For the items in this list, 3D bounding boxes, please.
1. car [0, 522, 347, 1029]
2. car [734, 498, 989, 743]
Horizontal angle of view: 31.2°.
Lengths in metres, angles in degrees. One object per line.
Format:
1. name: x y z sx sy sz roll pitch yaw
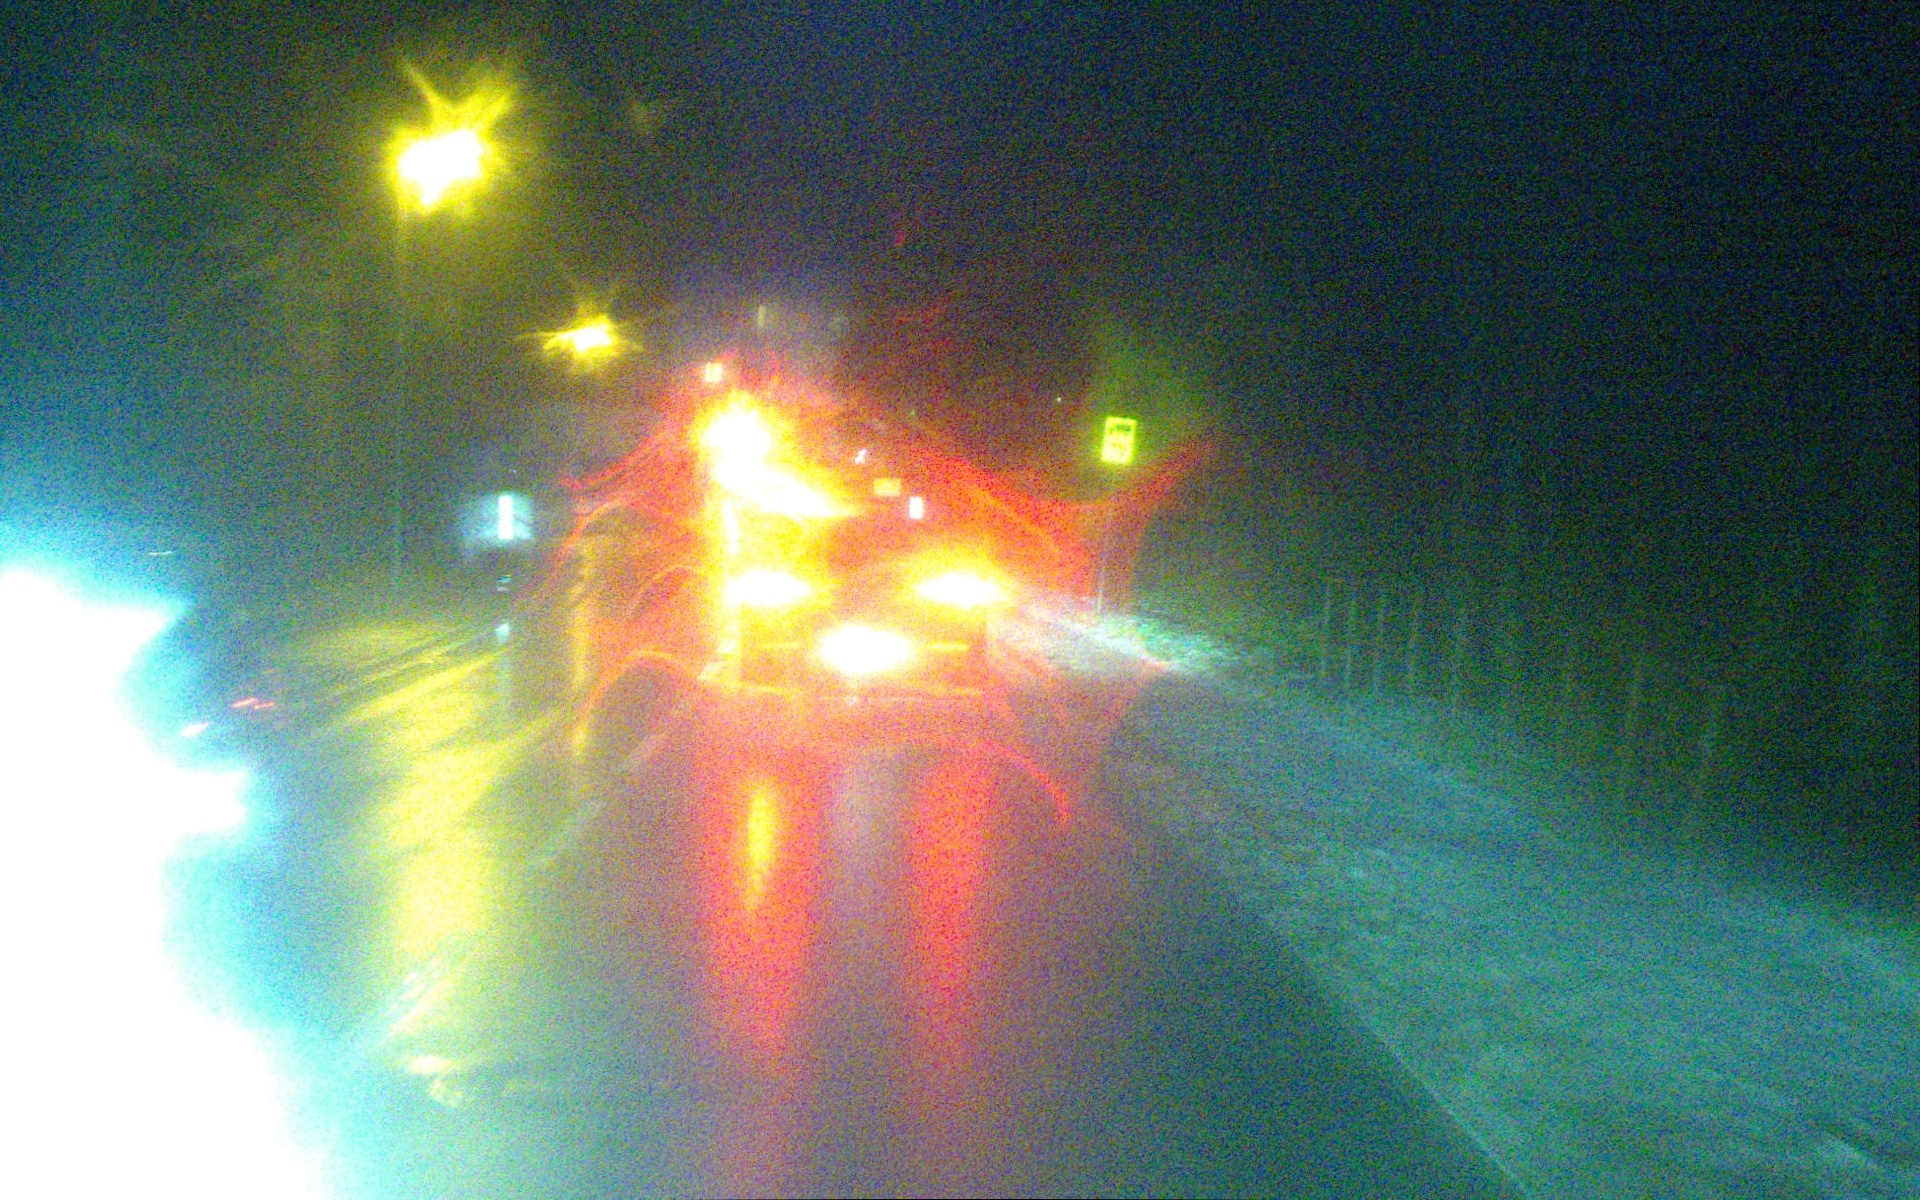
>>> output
1. car: -3.500 0.468 12.111 1.914 1.470 4.203 2 0 0
2. car: -0.766 0.093 26.399 1.791 1.675 3.905 1 2 -2
